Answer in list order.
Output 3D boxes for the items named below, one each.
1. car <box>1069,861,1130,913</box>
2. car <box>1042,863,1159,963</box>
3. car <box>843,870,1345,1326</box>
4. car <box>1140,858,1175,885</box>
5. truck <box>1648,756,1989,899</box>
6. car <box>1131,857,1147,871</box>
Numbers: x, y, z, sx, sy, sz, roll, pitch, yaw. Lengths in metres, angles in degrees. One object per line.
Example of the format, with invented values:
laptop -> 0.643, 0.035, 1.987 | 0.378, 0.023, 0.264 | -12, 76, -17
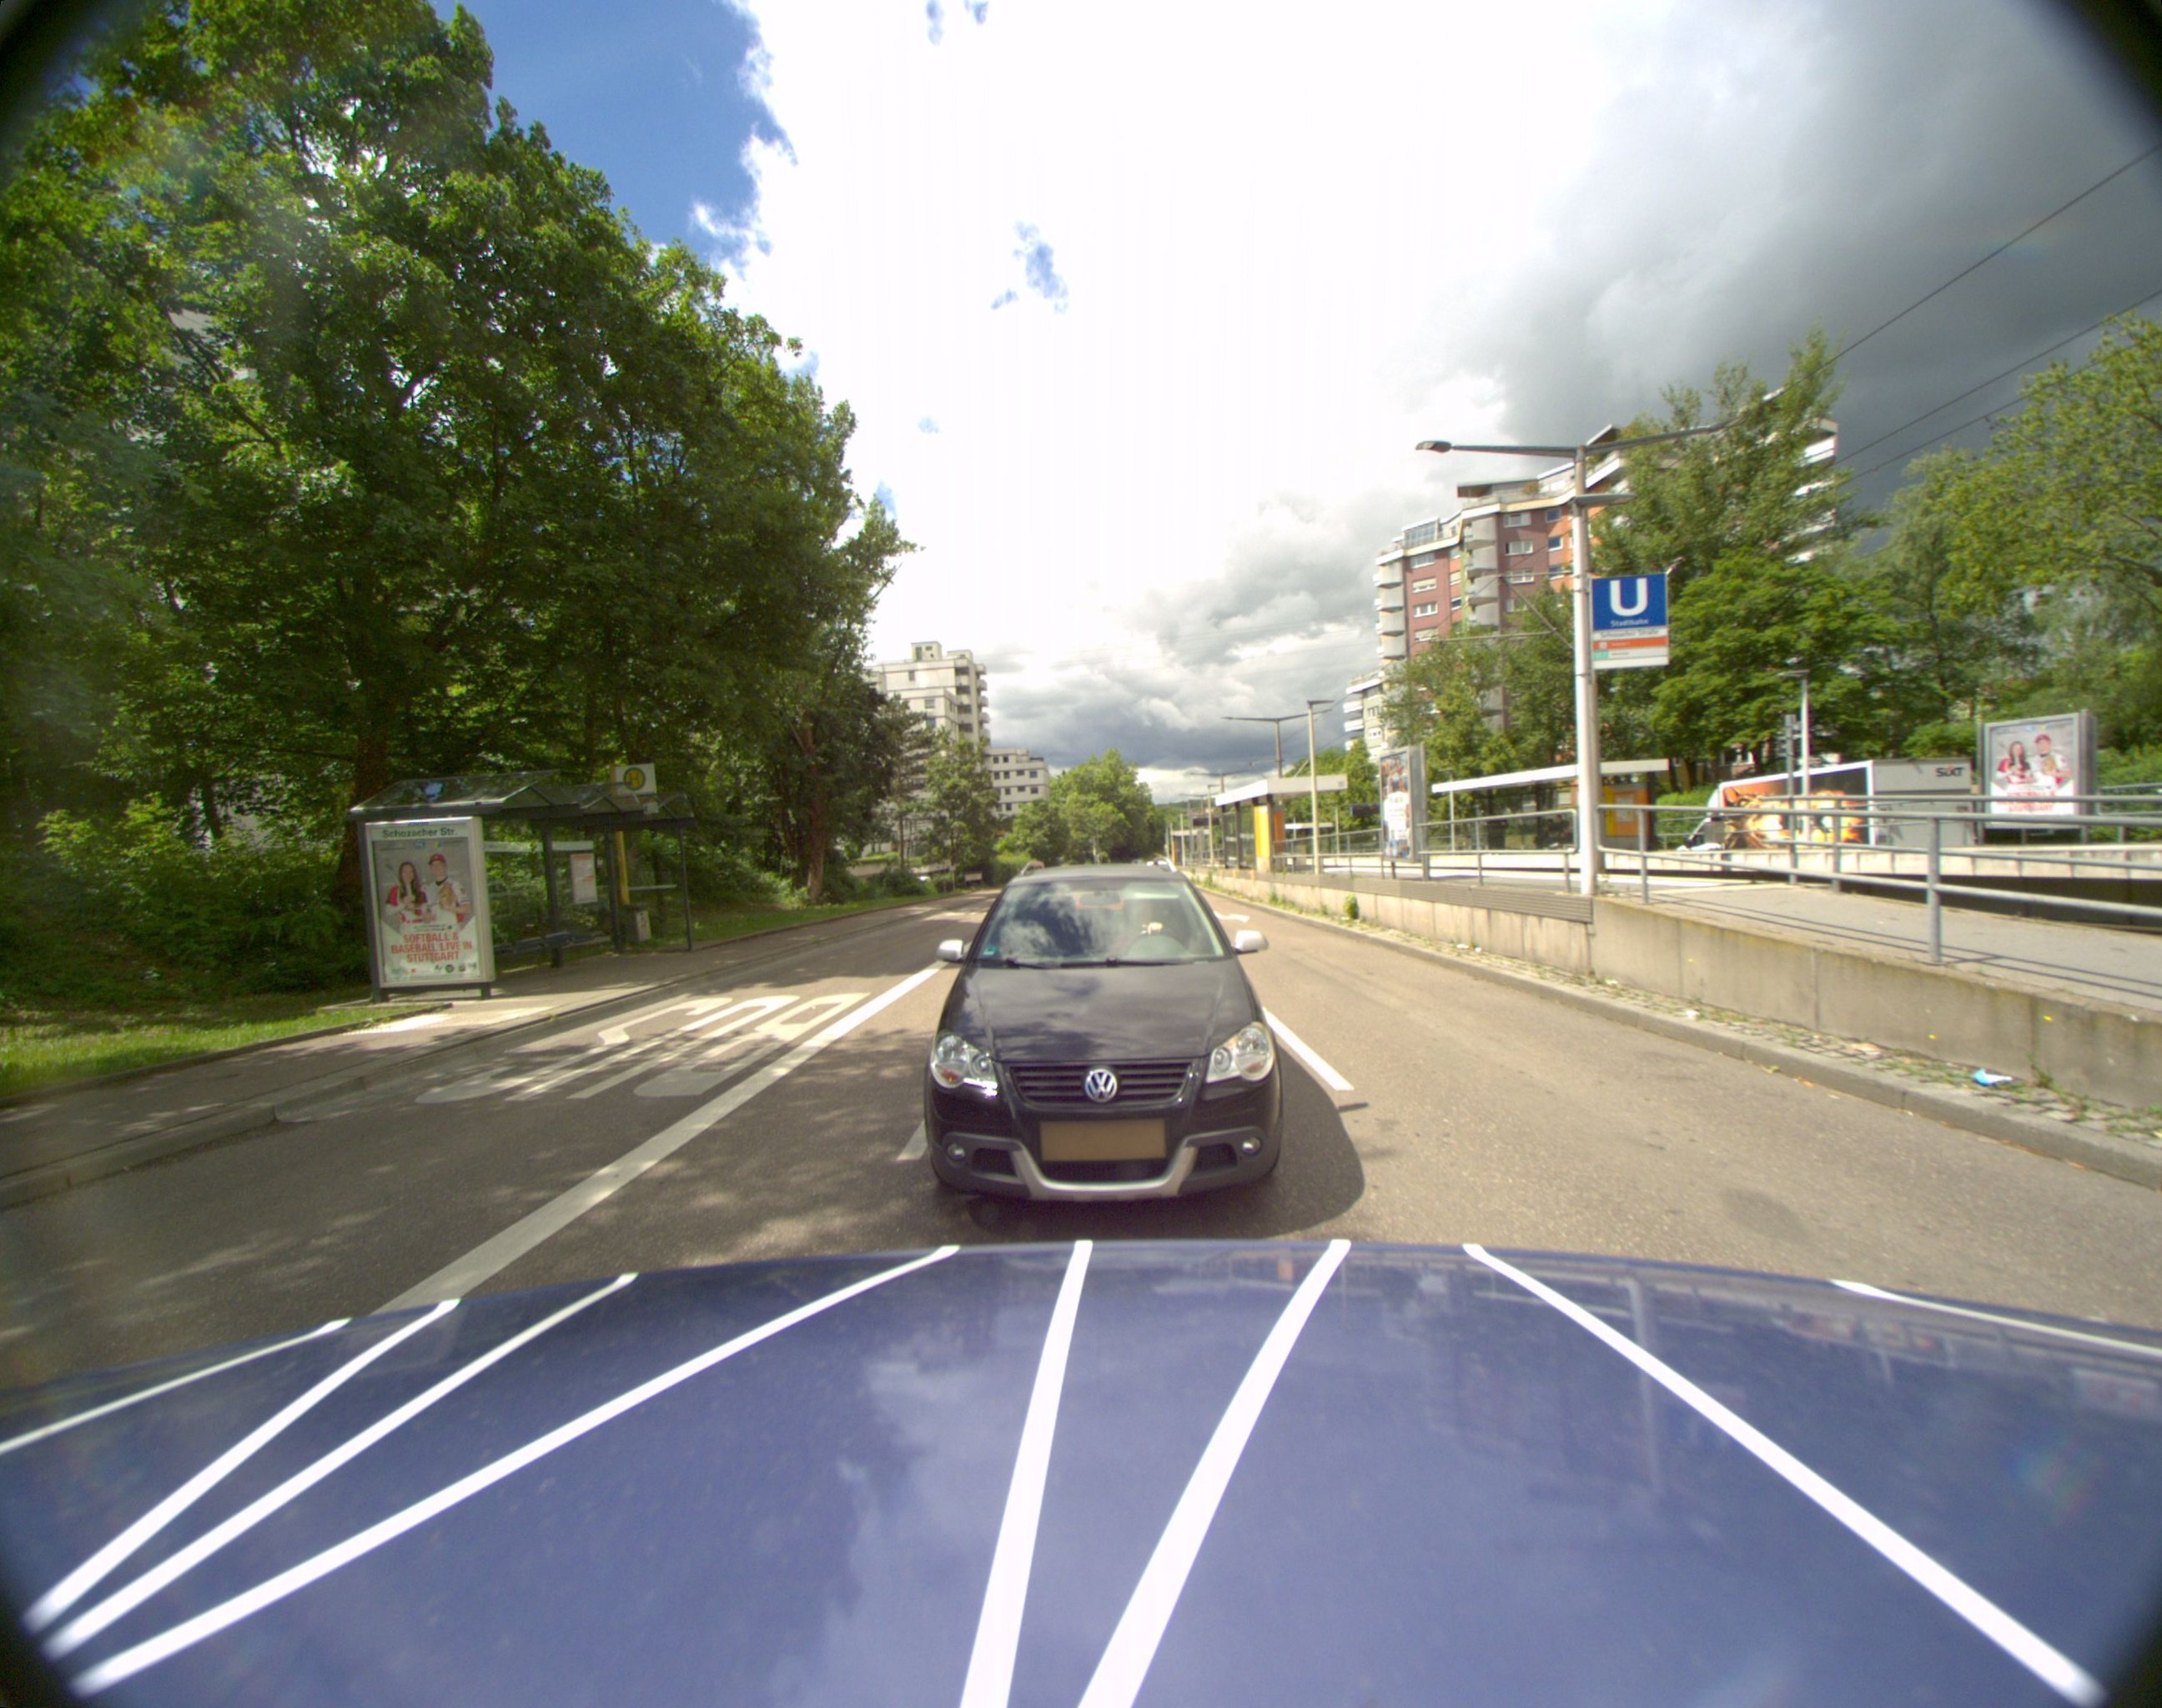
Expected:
car -> 0.657, 0.990, 24.222 | 1.732, 1.452, 4.001 | -2, 0, 3
car -> 0.341, 0.933, 13.702 | 1.732, 1.453, 4.000 | -2, 0, 1
car -> 0.083, 0.916, 4.712 | 1.732, 1.501, 4.000 | -2, 0, 1
car -> 4.582, 1.017, 45.846 | 1.732, 1.453, 4.000 | -2, 1, 1
truck -> 19.667, -0.579, 21.102 | 2.420, 3.203, 7.263 | -2, 0, 1
car -> 6.774, 1.132, 89.003 | 1.732, 1.505, 4.000 | -2, 1, 3
